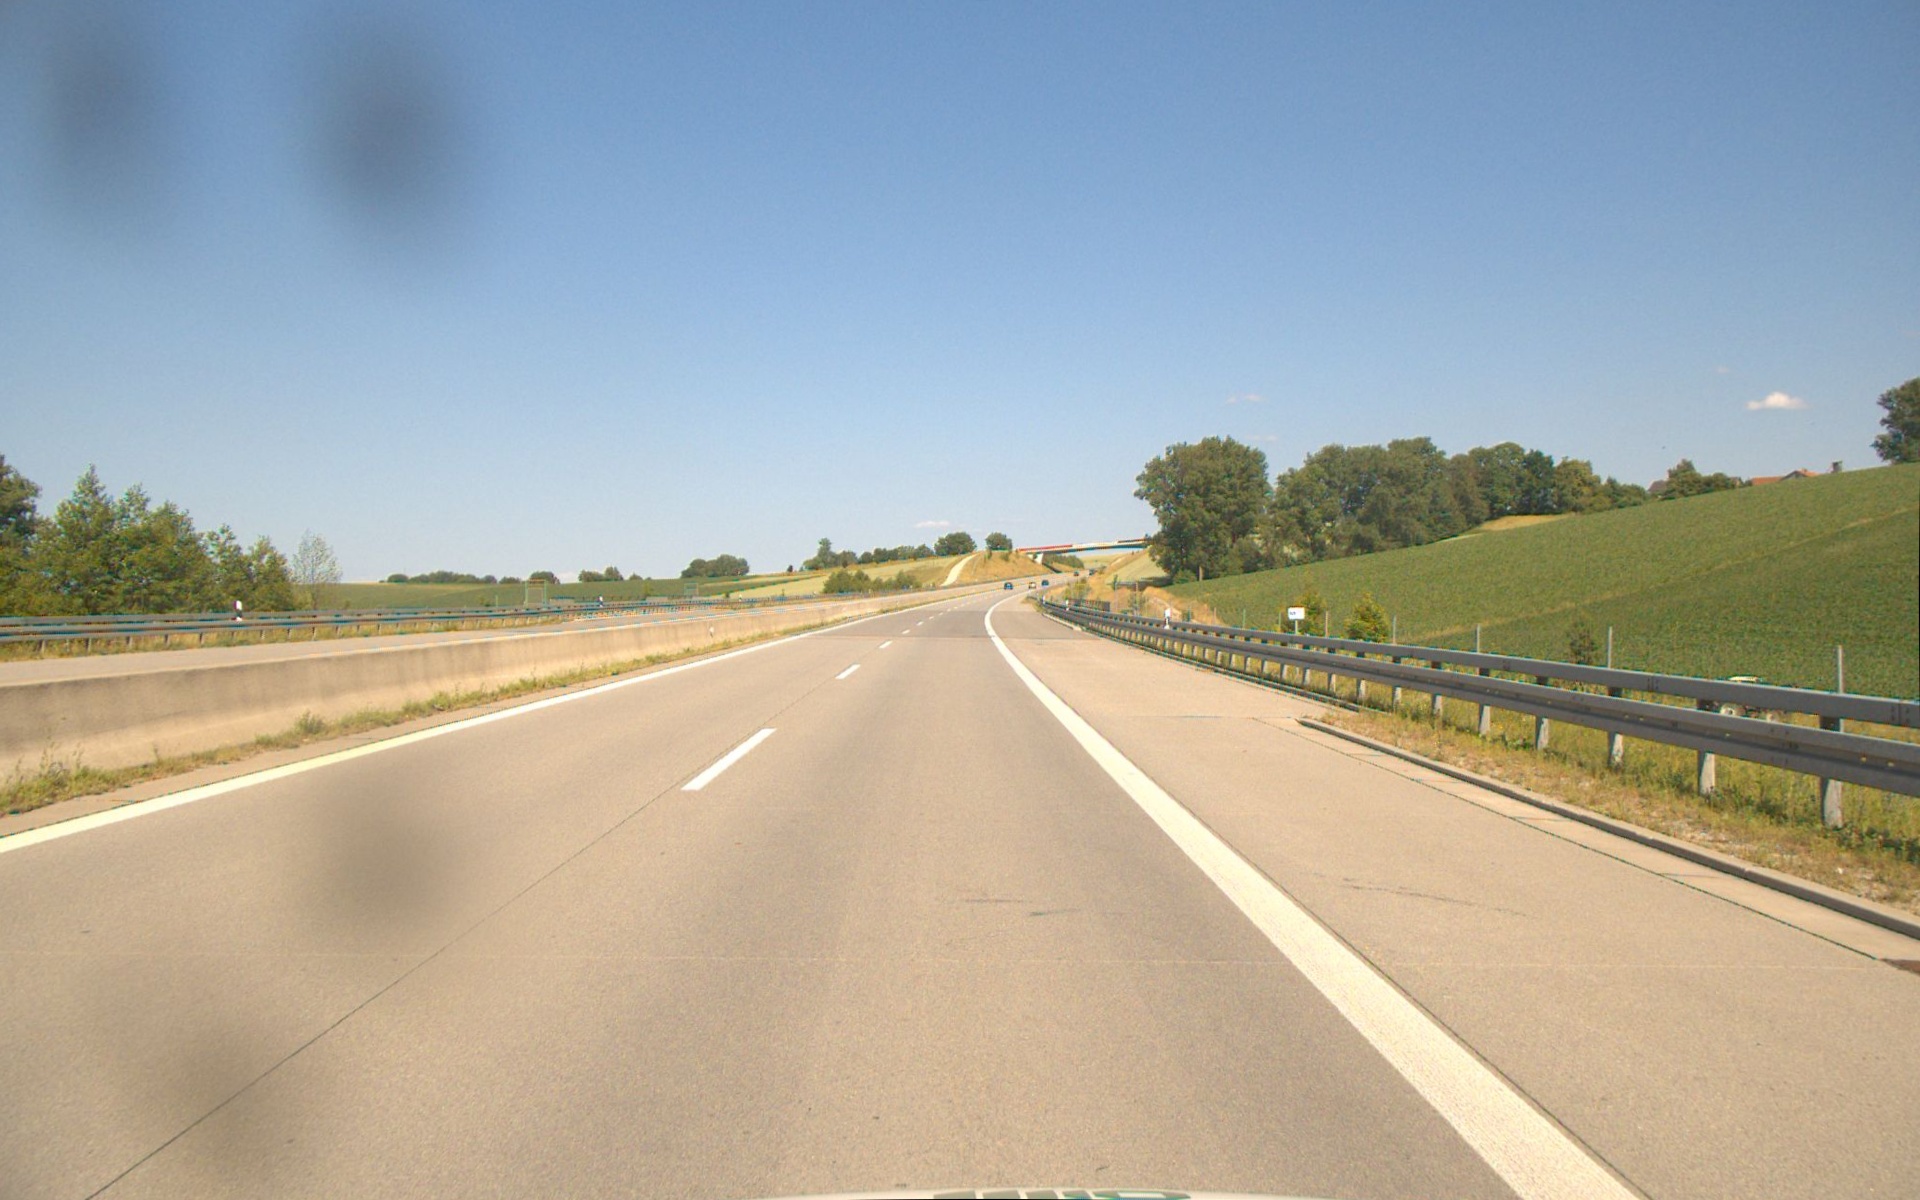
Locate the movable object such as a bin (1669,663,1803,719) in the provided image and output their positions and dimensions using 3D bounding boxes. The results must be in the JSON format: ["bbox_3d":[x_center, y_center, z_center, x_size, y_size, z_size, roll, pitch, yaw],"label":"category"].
[{"bbox_3d":[42.877,4.958,91.452,6.117,2.819,3.268,0,-2,40],"label":"movable object such as a bin"}]
